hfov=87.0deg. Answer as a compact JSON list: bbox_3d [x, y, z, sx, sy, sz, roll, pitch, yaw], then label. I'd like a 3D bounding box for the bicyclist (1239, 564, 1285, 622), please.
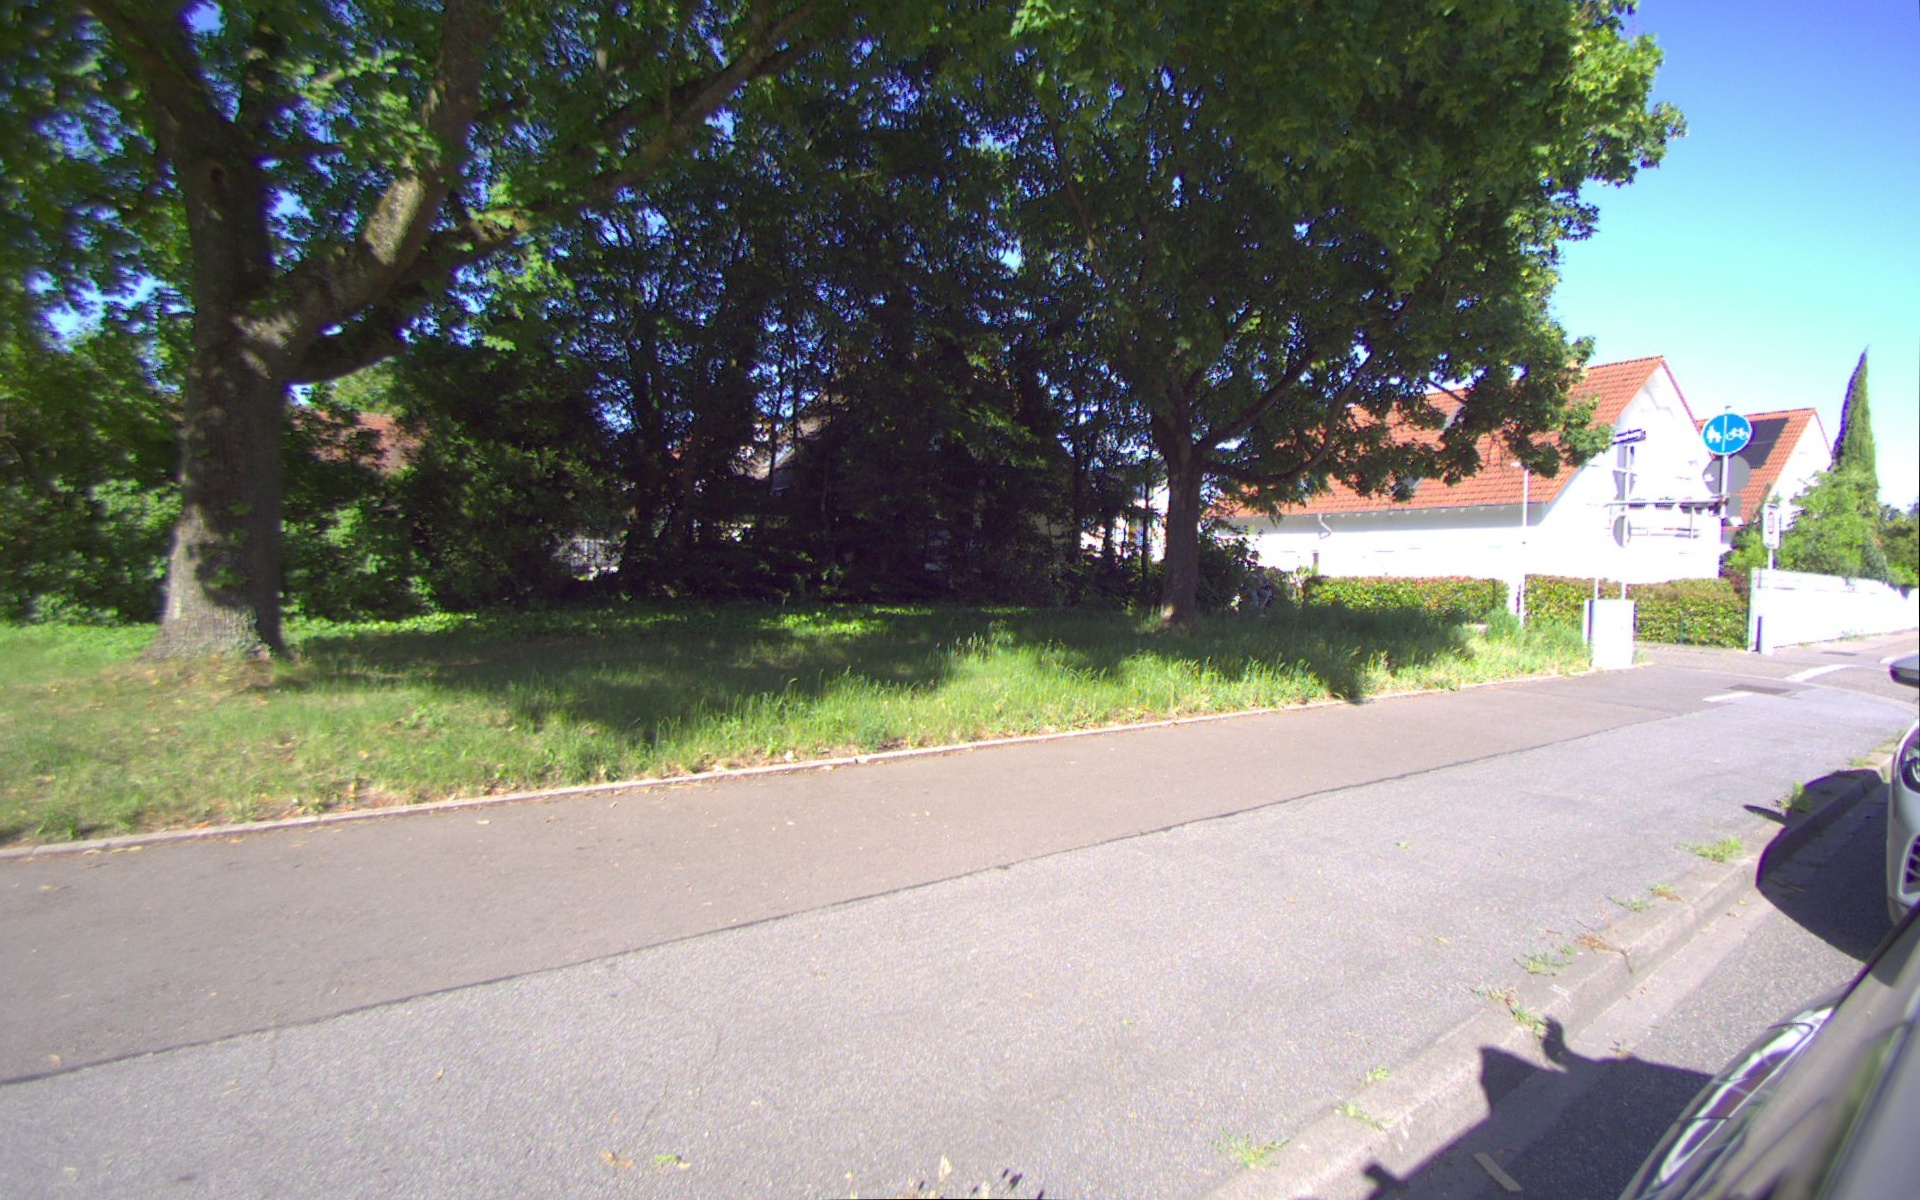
[{"bbox_3d":[9.109,-0.217,30.553,0.995,1.598,0.572,12,10,41],"label":"bicyclist"}]

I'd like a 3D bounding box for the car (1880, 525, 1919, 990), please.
[{"bbox_3d":[5.637,0.603,4.432,4.133,1.710,1.857,0,3,-41],"label":"car"}]

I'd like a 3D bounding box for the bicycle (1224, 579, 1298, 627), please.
[{"bbox_3d":[9.080,0.076,30.588,1.983,1.109,0.572,13,10,41],"label":"bicycle"}]
